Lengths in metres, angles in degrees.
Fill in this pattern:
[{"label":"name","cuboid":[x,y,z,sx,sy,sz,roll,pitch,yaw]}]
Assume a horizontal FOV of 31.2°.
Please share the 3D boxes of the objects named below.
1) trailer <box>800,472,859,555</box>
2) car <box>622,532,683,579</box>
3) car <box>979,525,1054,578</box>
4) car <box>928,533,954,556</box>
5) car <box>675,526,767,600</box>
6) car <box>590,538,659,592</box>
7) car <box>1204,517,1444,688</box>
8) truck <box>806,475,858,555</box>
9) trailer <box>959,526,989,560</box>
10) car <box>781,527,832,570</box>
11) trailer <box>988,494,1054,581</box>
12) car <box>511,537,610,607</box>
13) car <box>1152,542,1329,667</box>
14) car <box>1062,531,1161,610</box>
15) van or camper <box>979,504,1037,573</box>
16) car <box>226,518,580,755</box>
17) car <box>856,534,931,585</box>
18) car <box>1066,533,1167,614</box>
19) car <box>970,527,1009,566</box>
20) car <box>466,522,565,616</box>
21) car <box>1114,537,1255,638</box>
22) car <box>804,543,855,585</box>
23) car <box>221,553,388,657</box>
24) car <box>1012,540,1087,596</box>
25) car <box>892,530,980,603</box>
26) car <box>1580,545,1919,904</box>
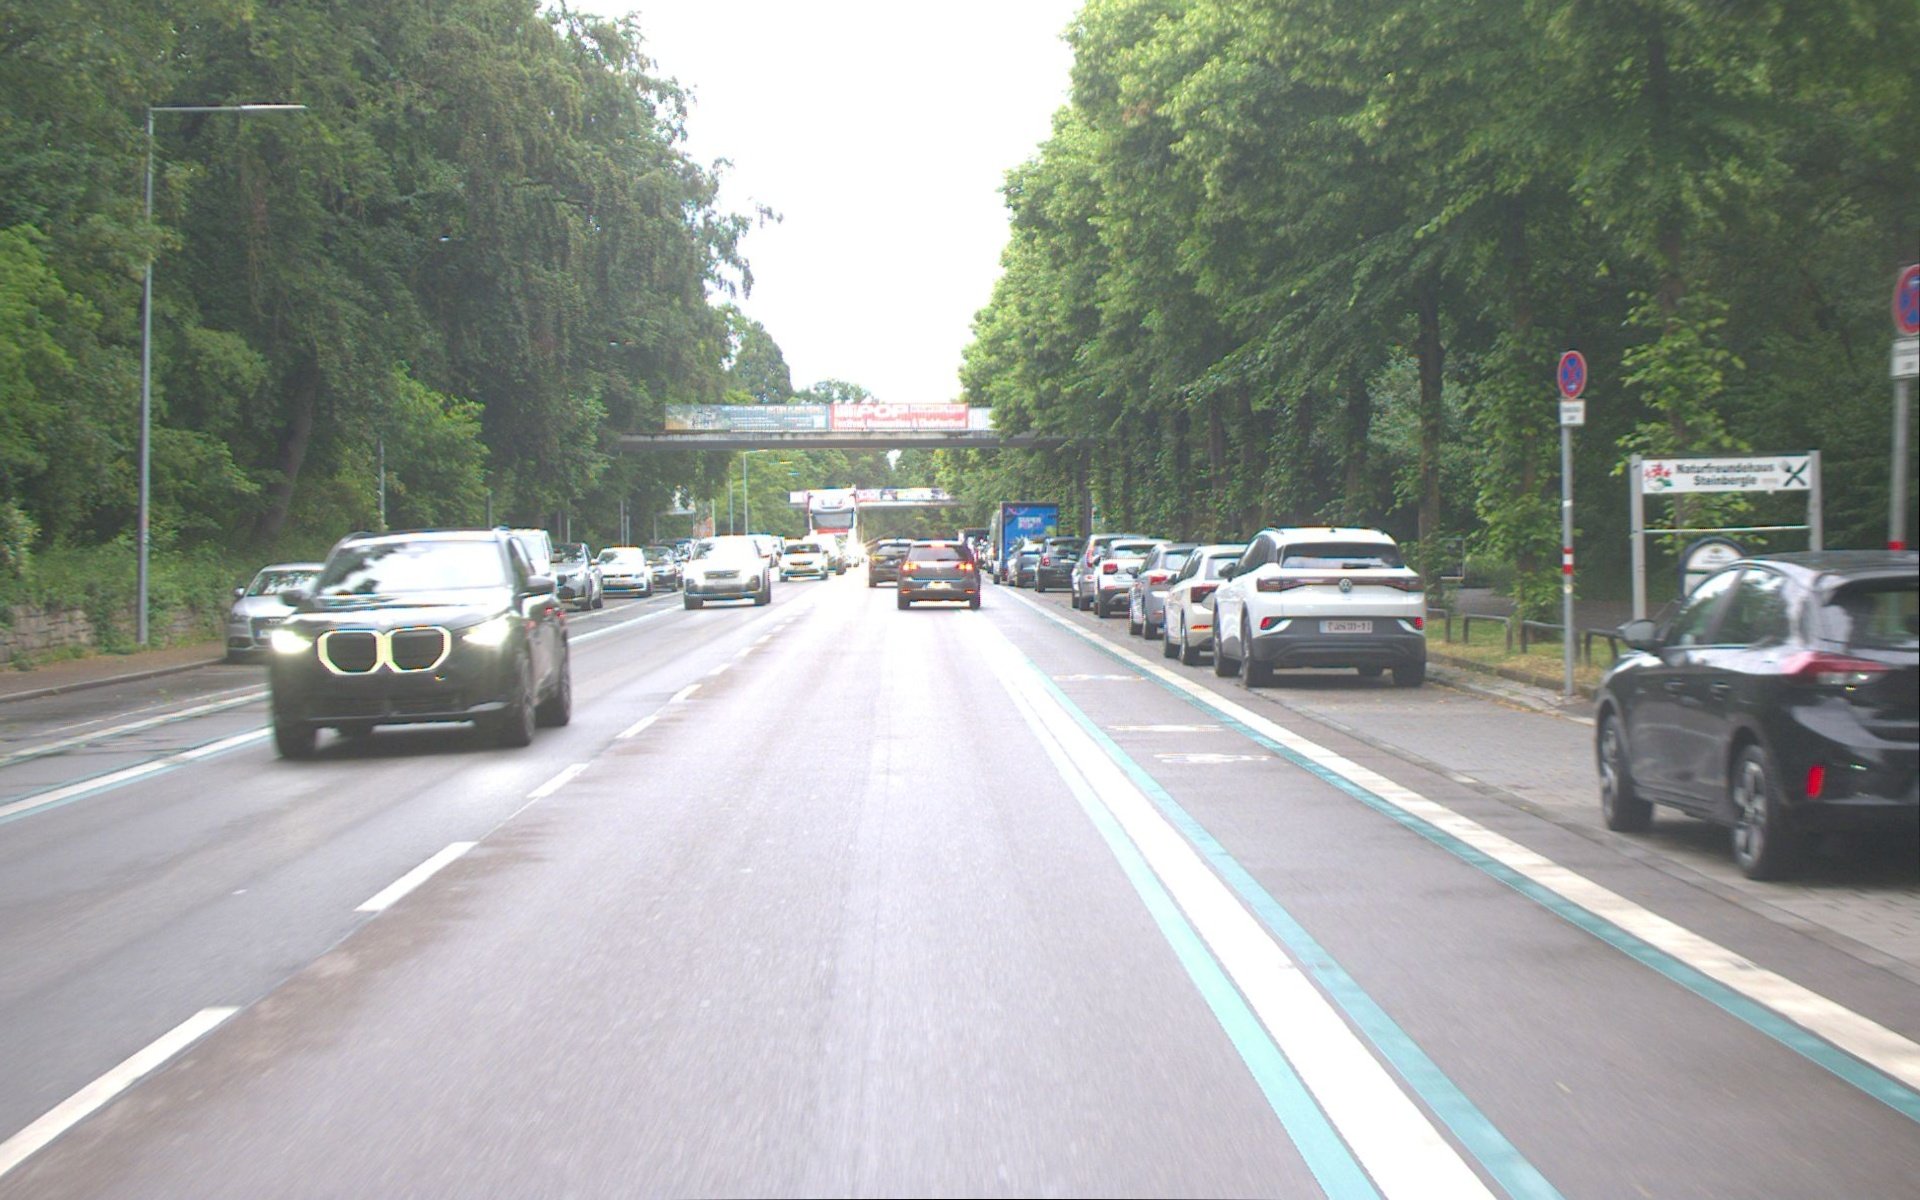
[{"label":"trailer","cuboid":[-7.154,-4.648,187.165,2.687,4.244,12.771,-3,1,-4]},{"label":"car","cuboid":[-9.962,-1.466,111.581,1.831,1.472,4.041,-1,1,-4]},{"label":"car","cuboid":[1.694,-1.495,104.680,1.899,1.542,4.756,1,1,-3]},{"label":"car","cuboid":[-1.357,-3.882,241.745,1.731,1.578,4.036,-1,1,1]},{"label":"car","cuboid":[-5.557,-0.882,80.483,1.953,1.633,4.445,-1,2,-2]},{"label":"car","cuboid":[-9.840,-1.042,101.129,1.789,1.477,3.983,-1,2,-3]},{"label":"car","cuboid":[3.773,-0.026,36.357,1.993,1.656,4.563,-1,1,-1]},{"label":"truck","cuboid":[-6.729,-4.418,180.241,2.517,4.032,4.917,-3,1,-2]},{"label":"trailer","cuboid":[0.884,-3.716,224.354,1.884,2.158,3.808,-1,1,0]},{"label":"car","cuboid":[-5.632,-1.906,126.341,1.775,1.461,4.063,-3,1,-2]},{"label":"trailer","cuboid":[1.936,-2.006,110.485,1.952,2.749,4.007,0,1,-1]},{"label":"car","cuboid":[-9.780,-0.706,84.443,2.010,1.600,4.780,-1,2,-2]},{"label":"car","cuboid":[3.421,0.025,42.509,1.698,1.448,3.947,1,1,-2]},{"label":"car","cuboid":[3.163,-0.649,72.430,1.753,1.591,4.740,0,1,-1]},{"label":"van or camper","cuboid":[1.932,-2.534,141.476,2.042,2.720,6.901,1,1,-2]},{"label":"car","cuboid":[-4.229,0.211,26.809,2.038,1.643,4.477,-1,1,-1]},{"label":"car","cuboid":[-2.061,-1.251,105.004,2.140,1.487,4.499,1,1,-3]},{"label":"car","cuboid":[2.993,-0.539,66.455,1.698,1.508,4.469,1,1,0]},{"label":"car","cuboid":[1.540,-2.813,181.010,1.926,2.015,4.664,1,1,-1]},{"label":"car","cuboid":[-9.718,-0.713,75.521,1.973,1.998,5.019,0,1,-5]},{"label":"car","cuboid":[3.397,-0.221,52.648,1.698,1.448,4.098,1,1,-2]},{"label":"car","cuboid":[-5.360,-1.497,141.200,1.961,1.611,4.466,-1,1,-1]},{"label":"car","cuboid":[-9.577,0.048,50.464,1.690,1.400,4.028,0,2,0]},{"label":"car","cuboid":[2.463,-0.908,95.483,1.825,1.498,4.571,0,1,-1]},{"label":"car","cuboid":[-0.500,-0.740,73.814,1.818,1.503,4.139,0,1,0]},{"label":"car","cuboid":[4.163,0.493,16.444,1.695,1.471,3.998,0,1,0]}]
